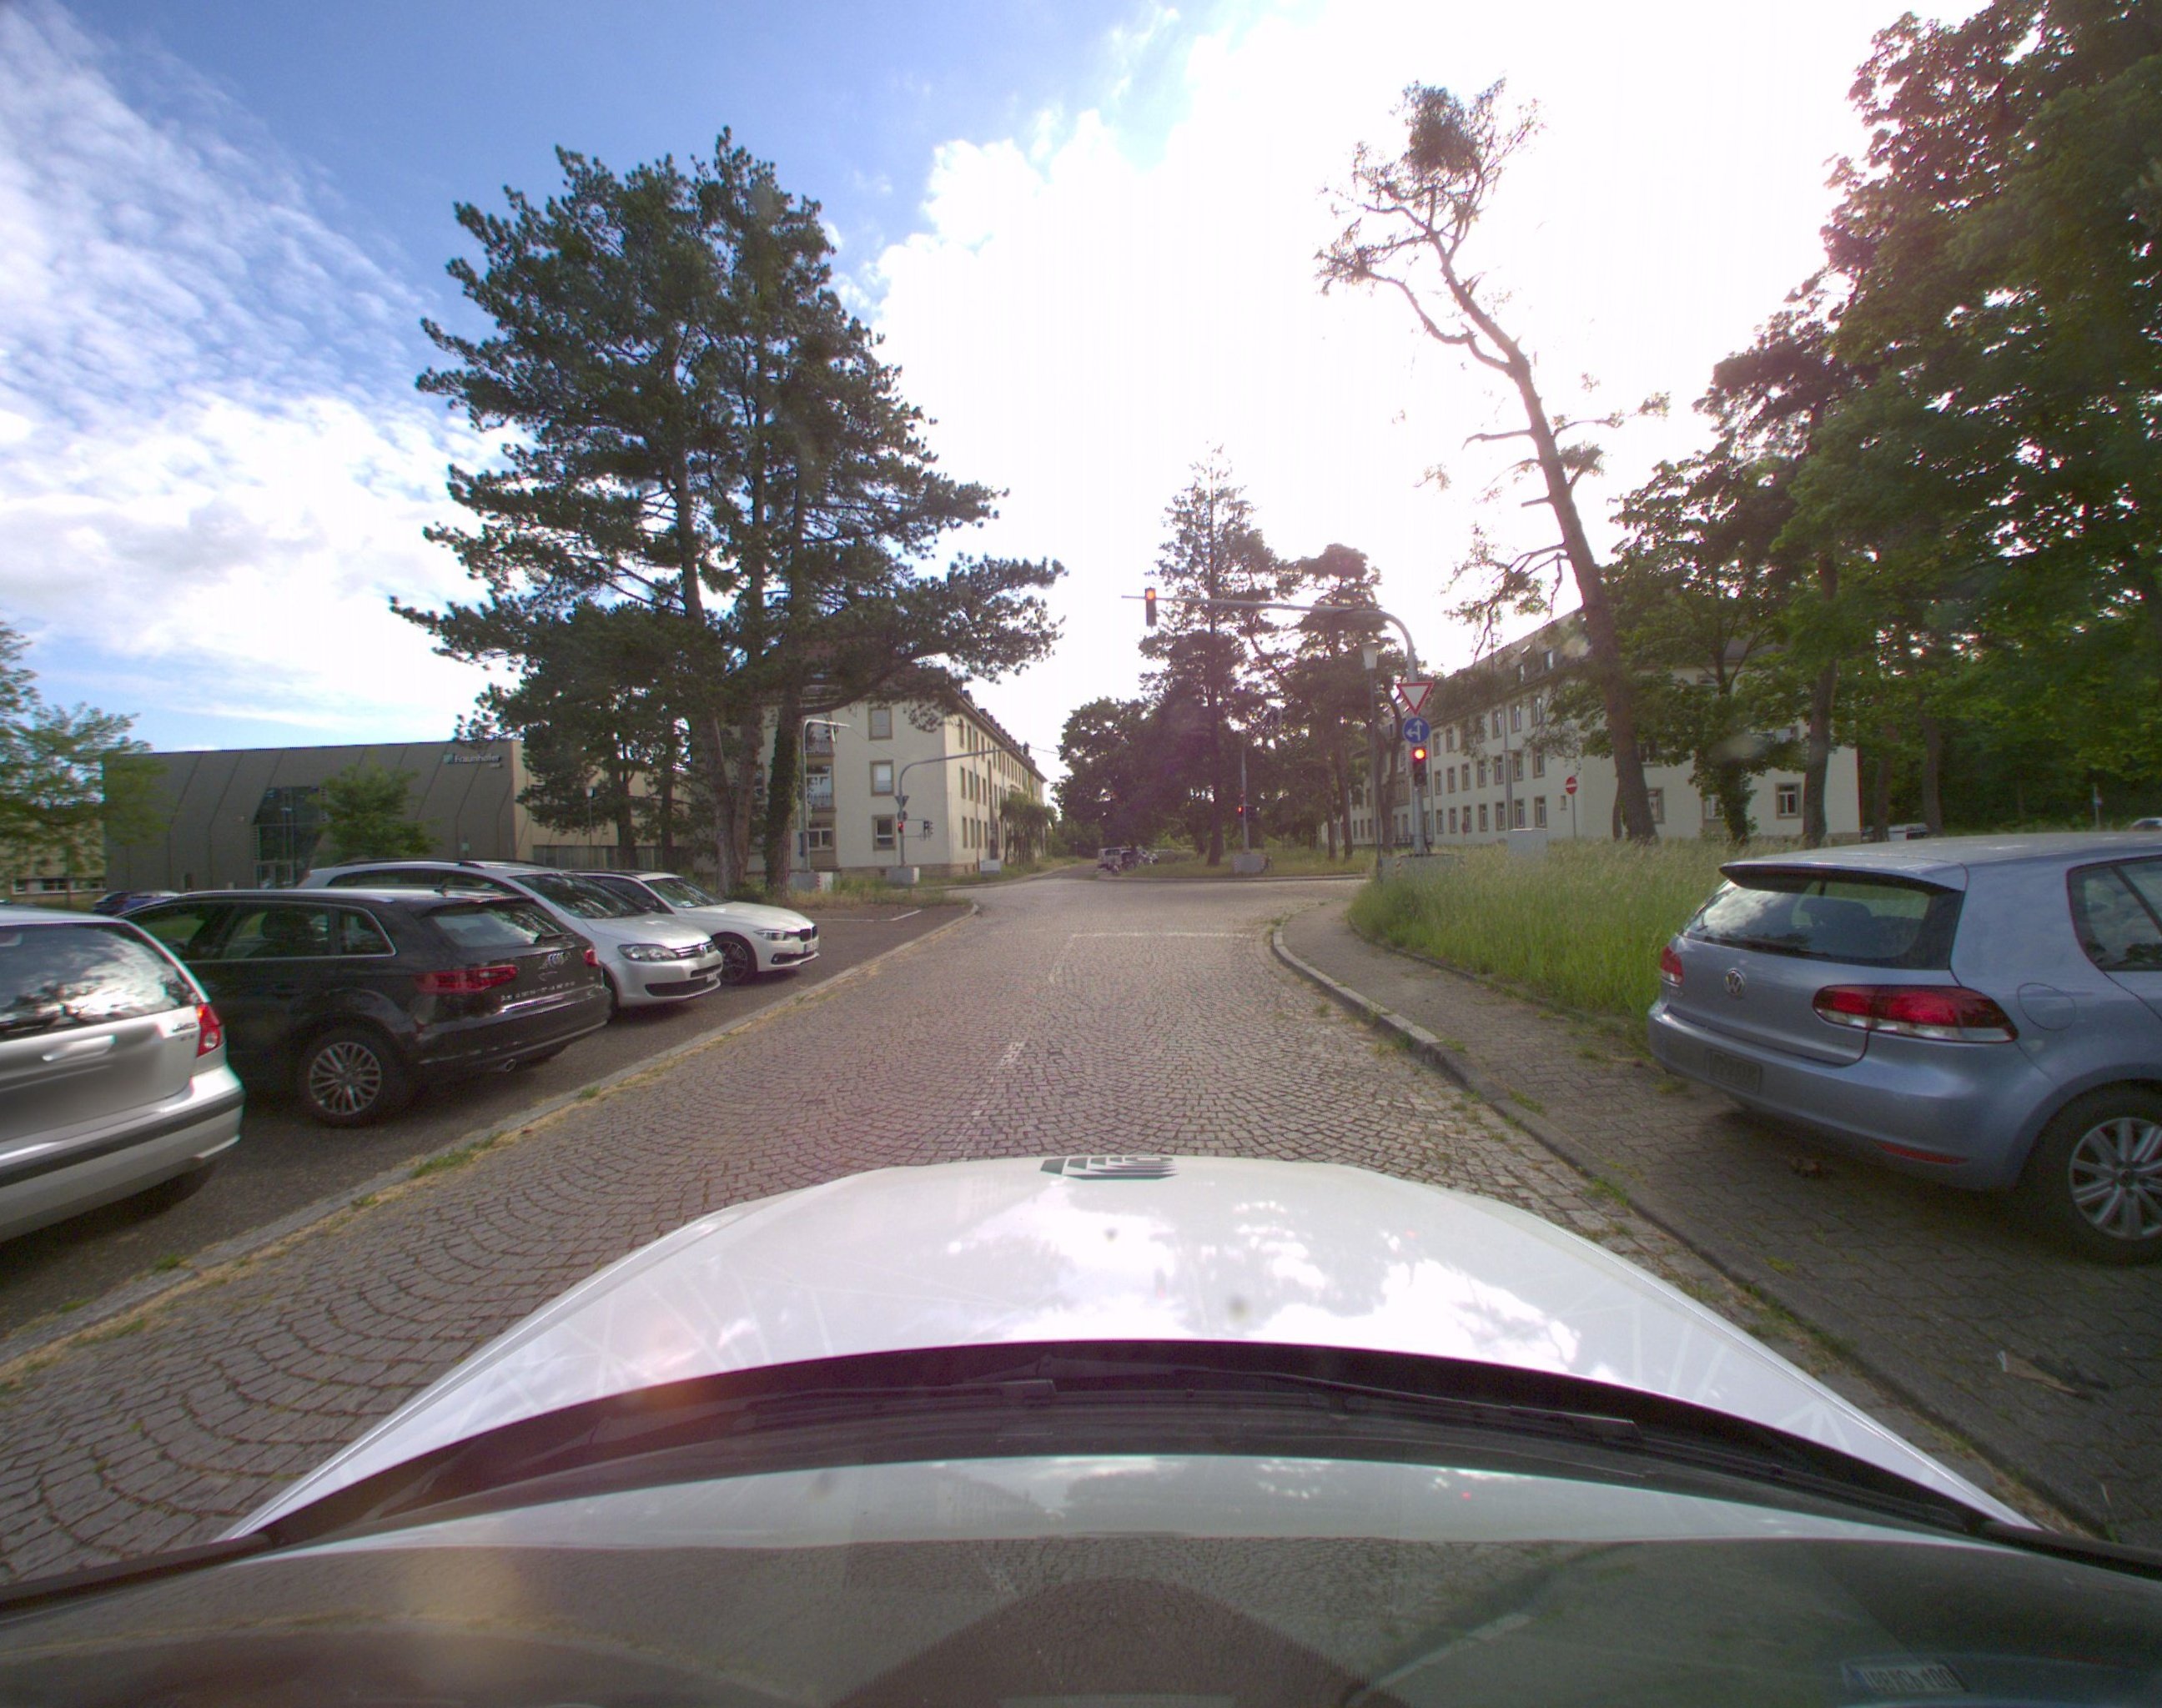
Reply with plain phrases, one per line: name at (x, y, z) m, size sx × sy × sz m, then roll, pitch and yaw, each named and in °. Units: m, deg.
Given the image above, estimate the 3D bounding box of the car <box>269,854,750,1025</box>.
car at (-5.774, 0.817, 8.603) m, size 3.819 × 1.607 × 1.735 m, roll 0°, pitch 0°, yaw -1°

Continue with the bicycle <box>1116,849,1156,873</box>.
bicycle at (3.882, 0.484, 57.520) m, size 2.761 × 1.694 × 1.122 m, roll 0°, pitch 0°, yaw 6°

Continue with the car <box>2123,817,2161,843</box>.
car at (59.367, -1.284, 44.027) m, size 3.971 × 1.398 × 1.564 m, roll 0°, pitch 0°, yaw 2°

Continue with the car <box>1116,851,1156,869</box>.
car at (4.527, 0.476, 67.143) m, size 3.131 × 1.354 × 1.618 m, roll -2°, pitch 0°, yaw -3°

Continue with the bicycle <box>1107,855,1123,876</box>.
bicycle at (2.032, 0.676, 48.538) m, size 0.722 × 1.107 × 2.465 m, roll -7°, pitch -1°, yaw 4°

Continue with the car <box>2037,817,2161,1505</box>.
car at (4.545, 0.581, 1.054) m, size 4.498 × 1.483 × 1.807 m, roll -2°, pitch 0°, yaw 0°

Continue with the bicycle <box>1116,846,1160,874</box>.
bicycle at (3.759, 0.391, 53.955) m, size 2.771 × 1.694 × 1.118 m, roll -2°, pitch 0°, yaw -5°

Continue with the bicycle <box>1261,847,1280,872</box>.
bicycle at (9.465, 0.263, 40.725) m, size 0.719 × 1.169 × 2.744 m, roll 0°, pitch 0°, yaw 9°

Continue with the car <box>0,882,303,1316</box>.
car at (-5.572, 0.868, 3.109) m, size 3.565 × 1.475 × 1.647 m, roll 1°, pitch 0°, yaw 0°

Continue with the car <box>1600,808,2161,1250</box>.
car at (4.755, 0.542, 3.593) m, size 3.828 × 1.471 × 1.642 m, roll -3°, pitch 0°, yaw 2°

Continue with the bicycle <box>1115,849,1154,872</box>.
bicycle at (3.864, 0.471, 58.861) m, size 2.763 × 1.694 × 1.121 m, roll 0°, pitch 0°, yaw 3°

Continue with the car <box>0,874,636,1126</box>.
car at (-5.521, 0.889, 5.721) m, size 3.821 × 1.408 × 1.696 m, roll 0°, pitch 0°, yaw 1°

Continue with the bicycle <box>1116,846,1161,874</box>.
bicycle at (3.725, 0.365, 52.760) m, size 2.769 × 1.694 × 1.119 m, roll -2°, pitch 0°, yaw -3°

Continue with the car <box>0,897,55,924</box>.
car at (-55.770, 2.979, 41.434) m, size 1.598 × 1.272 × 4.204 m, roll -2°, pitch 0°, yaw 6°

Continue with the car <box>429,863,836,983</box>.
car at (-5.860, 0.879, 11.076) m, size 4.465 × 1.442 × 1.829 m, roll 1°, pitch 0°, yaw -1°

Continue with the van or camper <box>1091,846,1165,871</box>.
van or camper at (4.073, 0.374, 70.743) m, size 6.035 × 1.948 × 1.992 m, roll -2°, pitch 0°, yaw -11°

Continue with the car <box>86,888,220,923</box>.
car at (-46.646, 2.572, 41.074) m, size 1.749 × 1.414 × 4.138 m, roll -2°, pitch 0°, yaw 6°
